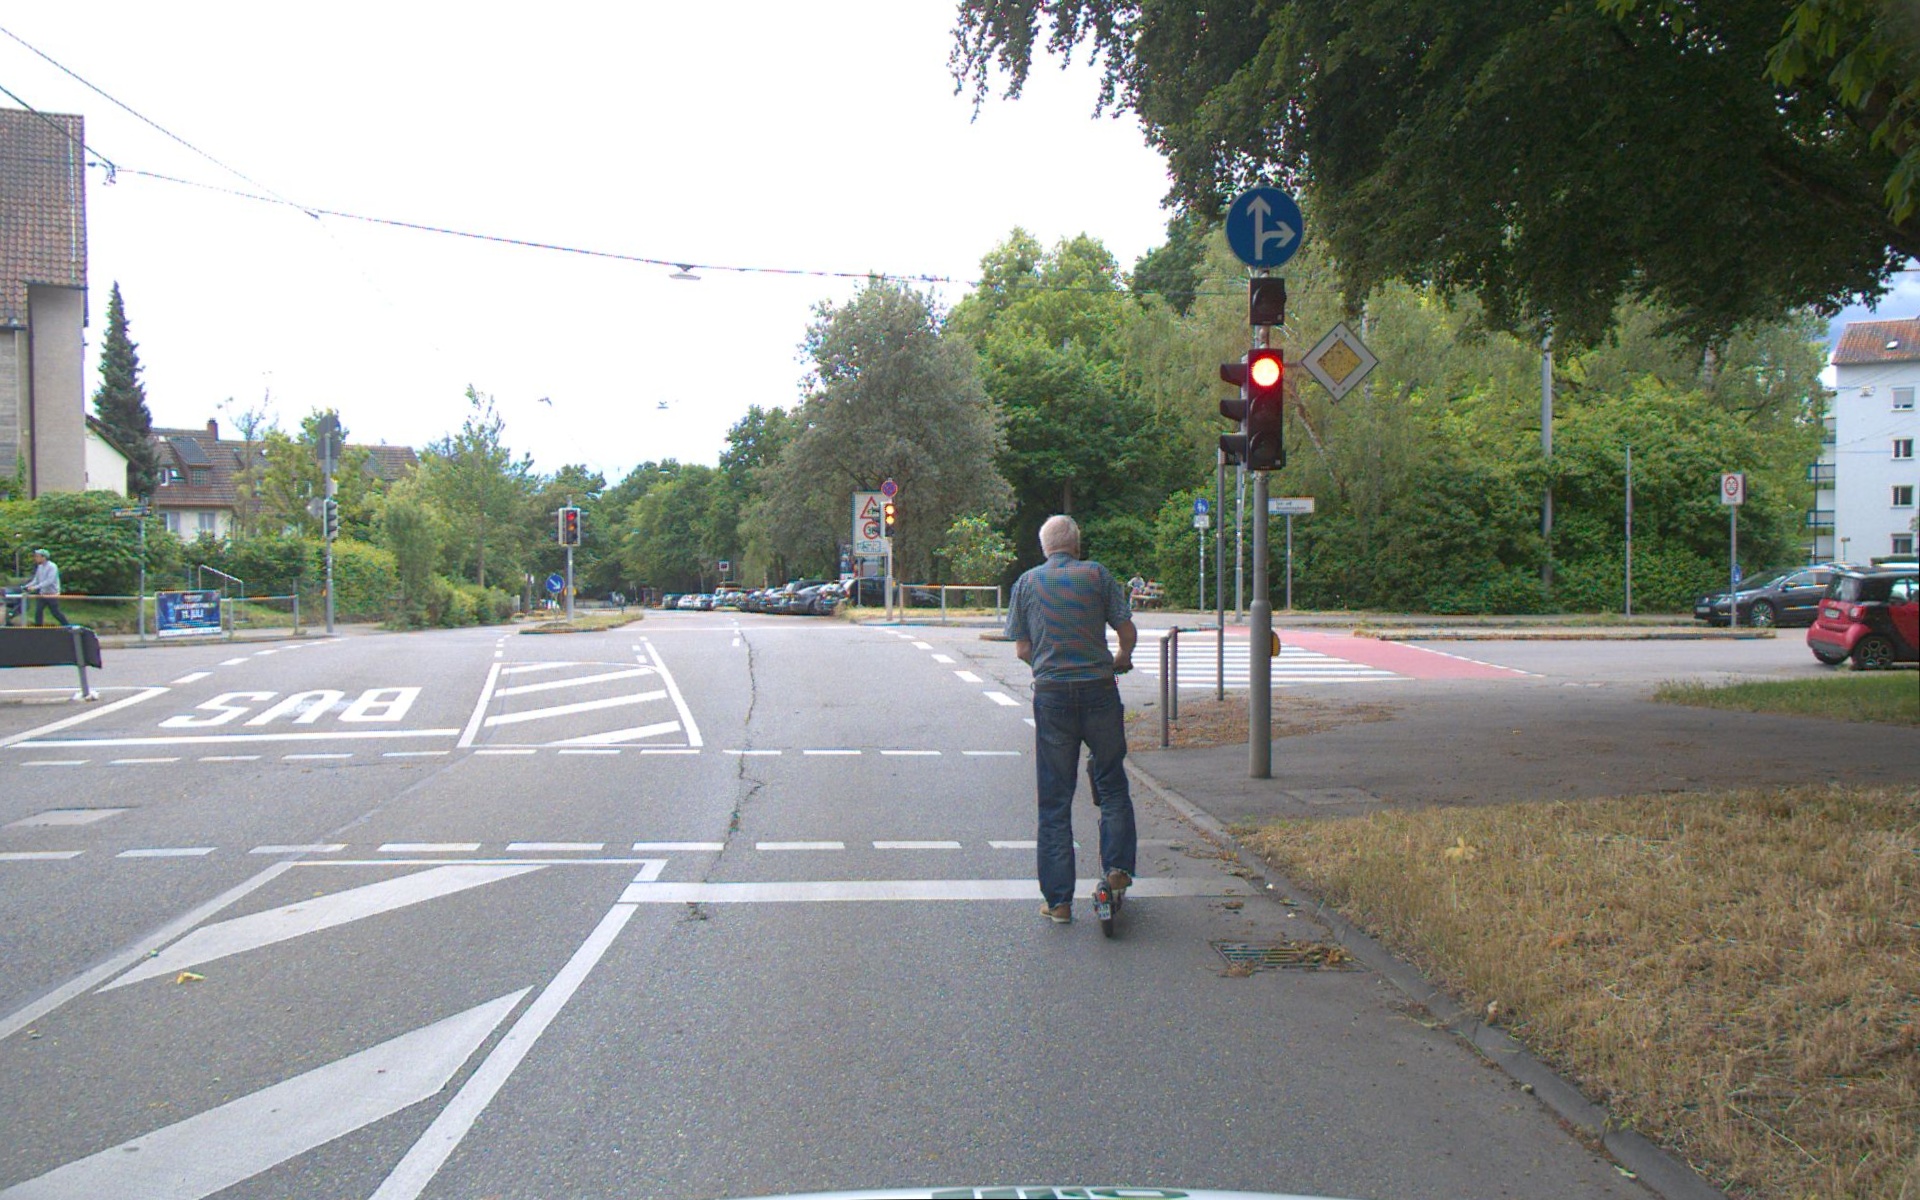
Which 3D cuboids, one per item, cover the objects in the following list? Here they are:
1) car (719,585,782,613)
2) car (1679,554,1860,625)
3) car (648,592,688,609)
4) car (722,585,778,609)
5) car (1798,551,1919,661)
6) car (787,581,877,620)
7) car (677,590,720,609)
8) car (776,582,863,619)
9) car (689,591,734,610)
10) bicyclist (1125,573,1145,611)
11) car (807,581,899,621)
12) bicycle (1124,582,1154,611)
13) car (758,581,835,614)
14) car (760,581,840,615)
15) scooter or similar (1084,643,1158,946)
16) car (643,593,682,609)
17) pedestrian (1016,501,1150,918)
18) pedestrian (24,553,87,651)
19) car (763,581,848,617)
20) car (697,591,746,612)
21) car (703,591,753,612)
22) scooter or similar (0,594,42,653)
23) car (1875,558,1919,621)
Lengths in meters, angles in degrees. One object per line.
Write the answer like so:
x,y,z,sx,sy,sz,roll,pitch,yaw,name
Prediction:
-13.783,-0.073,108.718,3.790,1.639,1.716,-2,1,-24,car
19.153,-0.261,39.243,3.444,1.557,1.729,-2,1,5,car
-30.928,0.037,175.164,3.790,1.639,1.716,-2,1,-24,car
-15.440,-0.209,121.661,3.790,1.639,1.716,-2,1,-24,car
15.256,0.048,25.841,3.444,1.639,1.729,-2,1,4,car
-5.931,0.016,76.672,3.792,1.639,1.715,-2,1,-25,car
-25.055,-0.067,158.394,3.790,1.639,1.716,-2,1,-24,car
-6.725,-0.002,79.202,3.790,1.639,1.716,-2,1,-24,car
-23.064,0.032,153.721,3.790,1.639,1.716,-2,1,-24,car
5.970,-0.272,56.358,0.482,1.270,0.678,1,0,23,bicyclist
-4.847,0.022,74.718,3.787,1.639,1.717,-2,1,-22,car
6.156,-0.104,56.809,0.482,0.975,1.925,1,0,23,bicycle
-8.804,-0.131,88.931,3.790,1.639,1.716,-2,1,-24,car
-8.365,-0.118,86.525,3.790,1.639,1.716,-2,1,-24,car
0.733,0.817,7.398,0.276,1.199,1.178,-1,1,7,scooter or similar
-31.937,0.097,177.486,3.790,1.639,1.716,-2,1,-24,car
0.571,0.486,7.571,0.560,1.845,0.421,-1,0,7,pedestrian
-17.646,0.029,32.278,0.562,1.895,0.885,-1,1,31,pedestrian
-7.577,-0.056,81.224,3.790,1.639,1.716,-2,1,-24,car
-20.556,0.106,142.454,3.790,1.639,1.716,-2,1,-24,car
-19.461,0.138,138.796,3.790,1.639,1.716,-2,1,-24,car
-18.154,0.442,31.424,0.565,1.100,1.109,-1,1,30,scooter or similar
26.404,-0.335,45.823,1.689,1.639,3.850,-1,1,27,car
